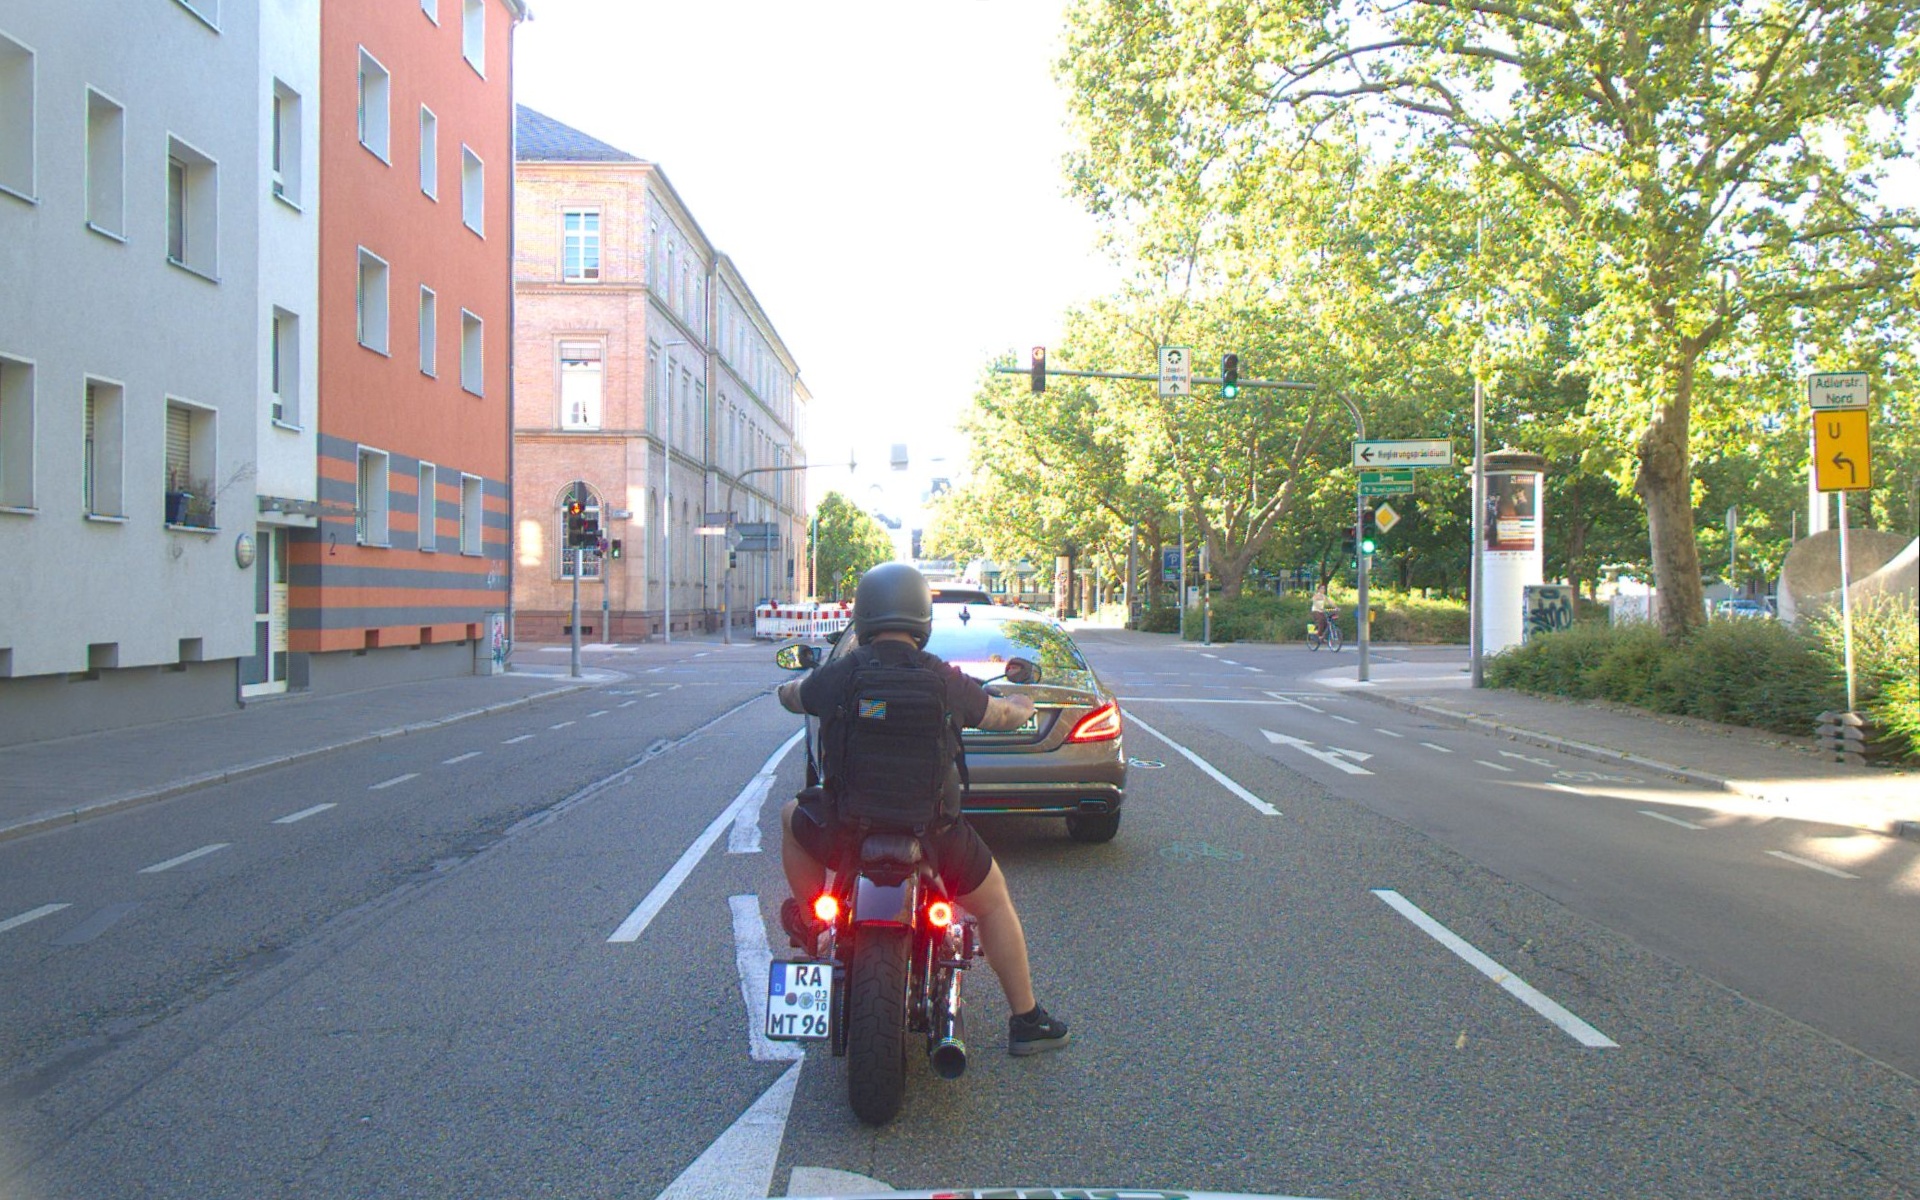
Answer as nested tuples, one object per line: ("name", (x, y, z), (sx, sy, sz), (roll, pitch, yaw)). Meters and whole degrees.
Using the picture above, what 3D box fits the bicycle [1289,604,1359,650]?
("bicycle", (9.756, 0.716, 44.410), (0.706, 1.193, 2.159), (1, 0, -24))

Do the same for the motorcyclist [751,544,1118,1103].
("motorcyclist", (-0.078, 0.652, 5.261), (1.039, 1.610, 0.908), (1, 0, -1))

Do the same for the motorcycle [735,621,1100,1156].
("motorcycle", (-0.128, 0.777, 5.530), (0.942, 1.380, 2.319), (1, 0, -1))

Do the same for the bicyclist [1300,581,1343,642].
("bicyclist", (9.715, 0.303, 44.504), (0.707, 1.610, 0.928), (1, -1, -25))

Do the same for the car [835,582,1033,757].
("car", (-0.343, 0.612, 16.760), (1.777, 1.563, 3.846), (0, 0, -3))

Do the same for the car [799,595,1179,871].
("car", (-0.031, 0.703, 11.086), (1.867, 1.466, 4.280), (0, 0, -9))
